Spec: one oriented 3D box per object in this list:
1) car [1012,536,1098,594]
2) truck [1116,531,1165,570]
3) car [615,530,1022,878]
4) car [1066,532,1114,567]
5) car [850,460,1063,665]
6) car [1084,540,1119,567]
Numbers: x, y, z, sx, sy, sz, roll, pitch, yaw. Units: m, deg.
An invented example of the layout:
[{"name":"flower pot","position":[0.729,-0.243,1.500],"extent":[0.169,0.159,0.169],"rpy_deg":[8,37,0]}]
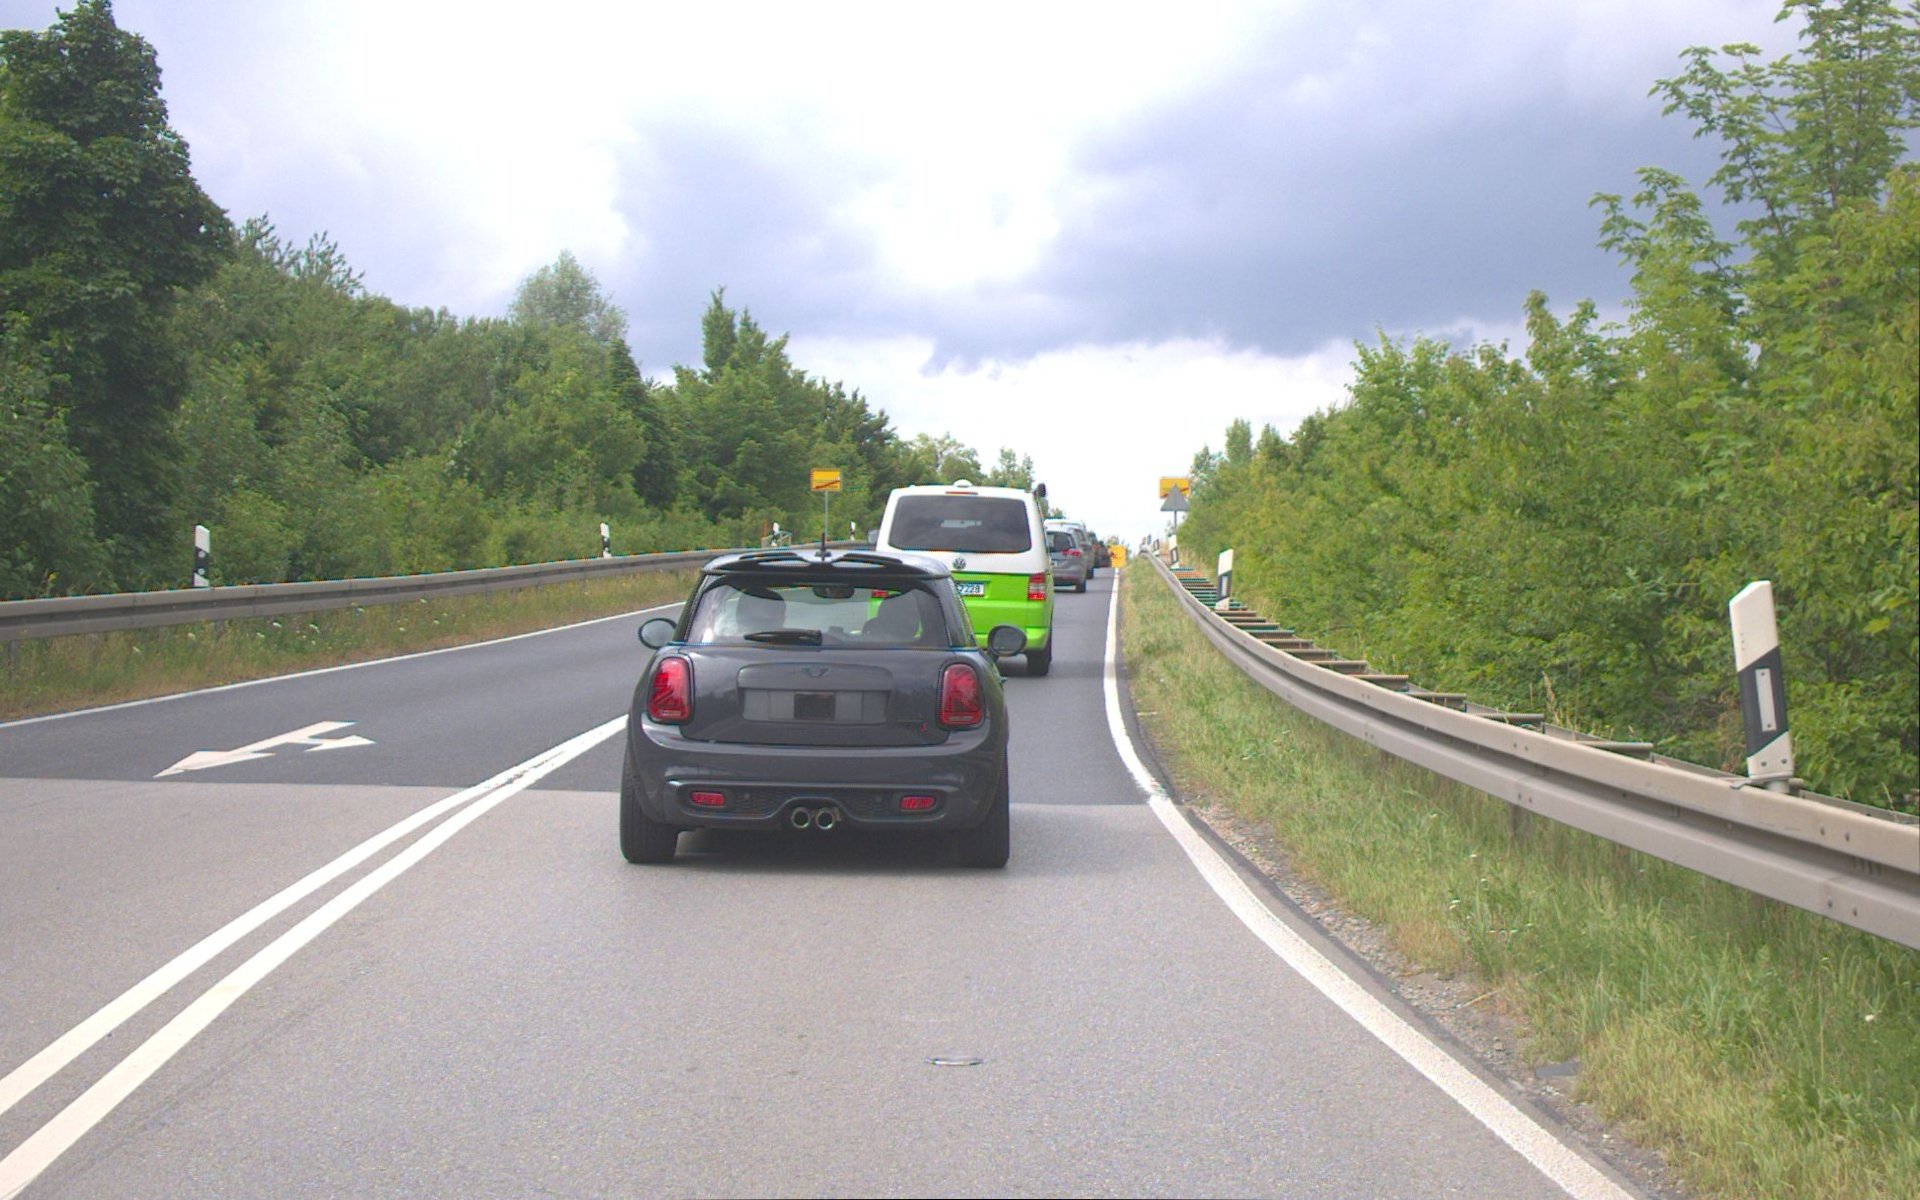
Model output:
[{"name":"car","position":[2.144,-0.790,76.384],"extent":[1.694,1.218,4.000],"rpy_deg":[0,1,5]},{"name":"truck","position":[11.669,-3.222,221.951],"extent":[2.910,2.364,10.451],"rpy_deg":[-1,1,4]},{"name":"car","position":[-0.700,0.410,16.789],"extent":[1.732,1.451,4.001],"rpy_deg":[1,2,-3]},{"name":"car","position":[5.115,-1.978,134.707],"extent":[1.694,1.315,4.000],"rpy_deg":[0,1,5]},{"name":"car","position":[0.024,-0.433,36.601],"extent":[2.022,2.006,4.000],"rpy_deg":[2,2,3]},{"name":"car","position":[7.437,-2.448,180.320],"extent":[1.694,1.315,4.000],"rpy_deg":[0,1,5]}]
